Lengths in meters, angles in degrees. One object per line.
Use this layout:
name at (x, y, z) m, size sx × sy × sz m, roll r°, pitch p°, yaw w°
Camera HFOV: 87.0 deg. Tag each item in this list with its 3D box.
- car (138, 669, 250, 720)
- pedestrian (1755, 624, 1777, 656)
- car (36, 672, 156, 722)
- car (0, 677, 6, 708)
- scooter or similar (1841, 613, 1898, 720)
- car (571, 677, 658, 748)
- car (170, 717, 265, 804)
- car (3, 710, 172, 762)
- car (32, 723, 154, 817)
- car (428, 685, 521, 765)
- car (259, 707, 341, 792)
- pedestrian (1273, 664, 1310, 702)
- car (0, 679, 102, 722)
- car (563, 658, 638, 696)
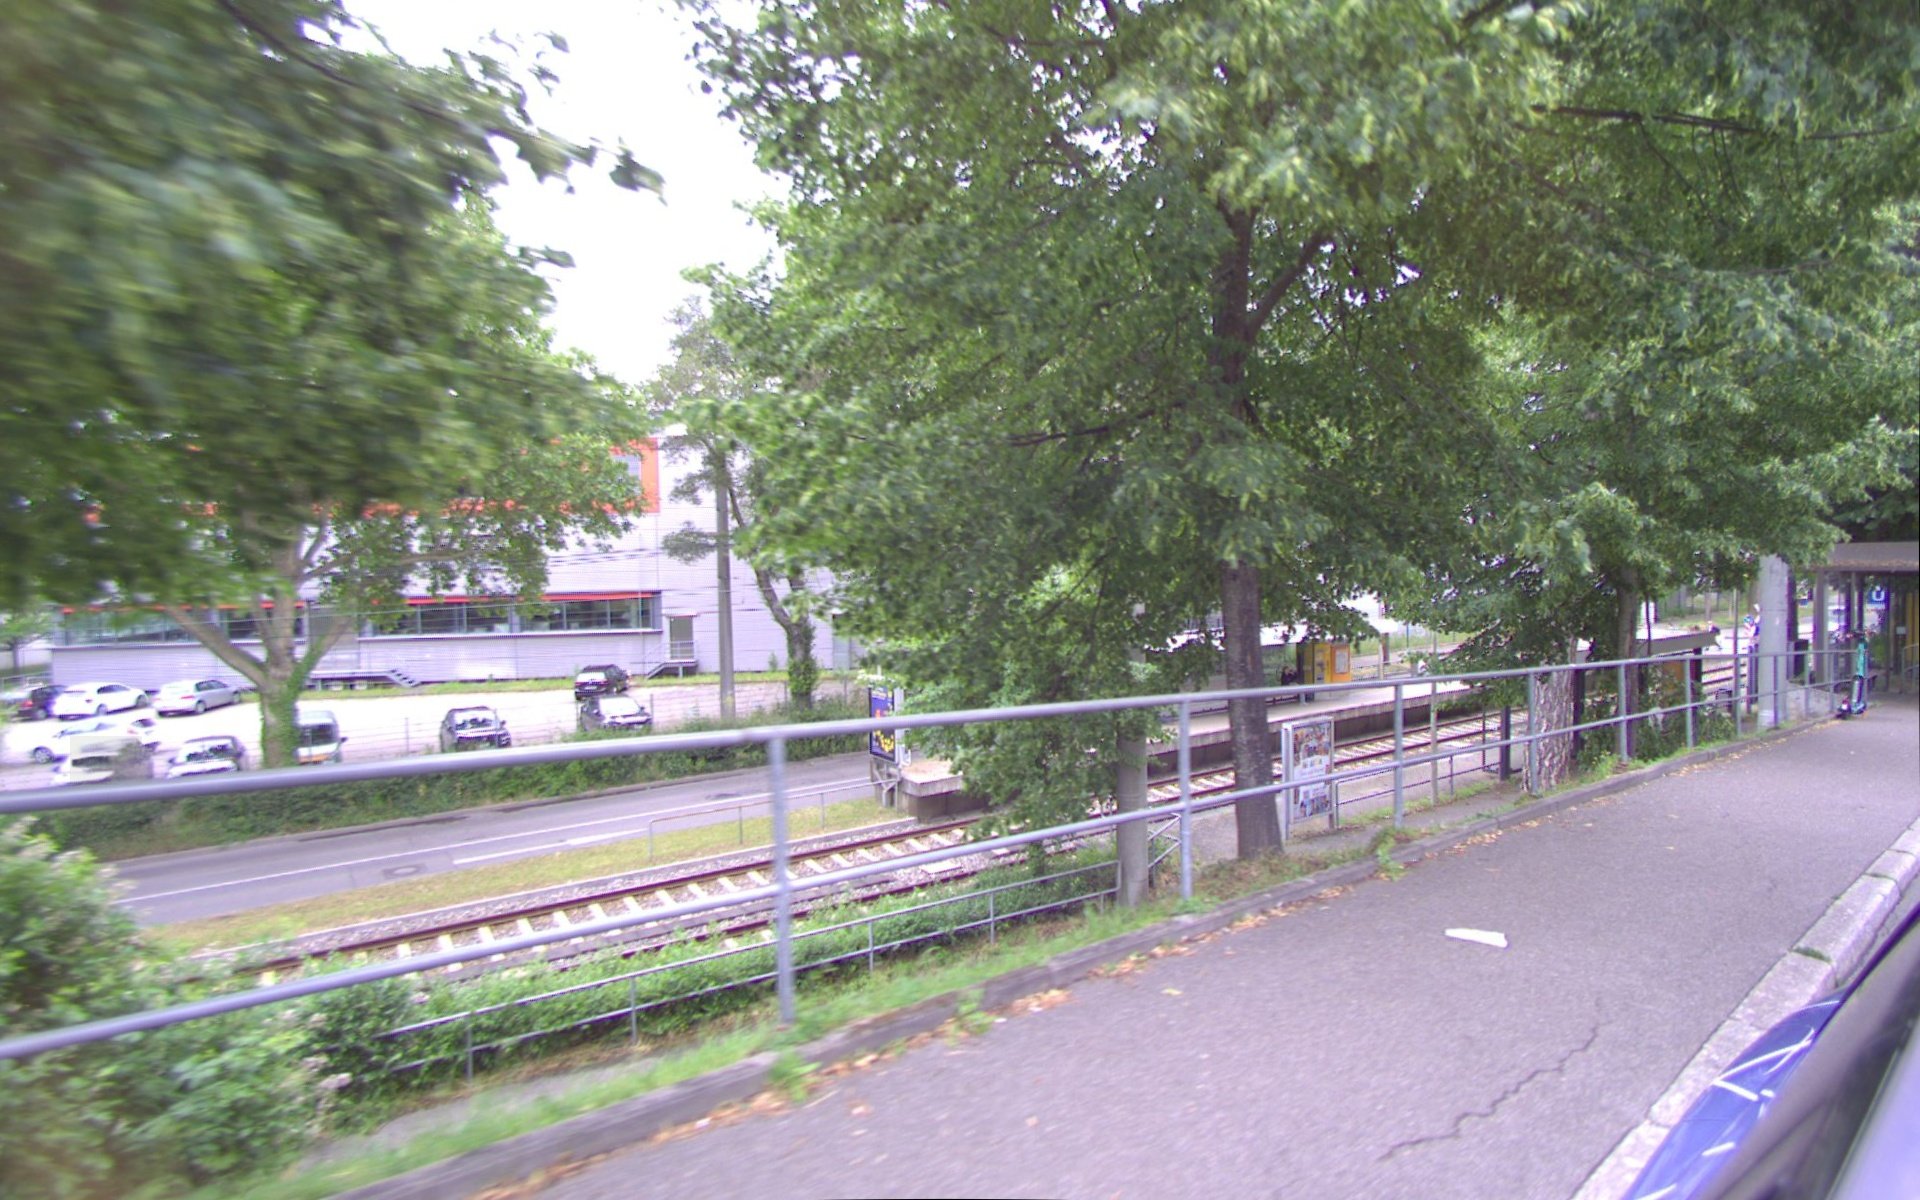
car at (-35.217, 4.304, 46.673) m, size 1.961 × 1.485 × 4.351 m, roll 0°, pitch 6°, yaw -3°
pedestrian at (43.859, 2.191, 55.065) m, size 0.670 × 1.697 × 0.755 m, roll 0°, pitch 0°, yaw -30°
car at (-39.526, 4.377, 46.452) m, size 1.960 × 1.485 × 4.352 m, roll 0°, pitch 5°, yaw -4°
car at (-46.893, 4.611, 46.631) m, size 1.960 × 1.485 × 4.352 m, roll 0°, pitch 4°, yaw -6°
scooter or similar at (12.710, 0.893, 14.128) m, size 1.430 × 1.402 × 0.430 m, roll 0°, pitch 0°, yaw -41°
car at (-12.541, 3.980, 36.564) m, size 1.962 × 2.039 × 4.000 m, roll 0°, pitch 1°, yaw -35°
car at (-22.447, 4.765, 30.754) m, size 1.961 × 1.814 × 4.585 m, roll 0°, pitch 1°, yaw -32°
car at (-31.429, 4.891, 36.572) m, size 4.254 × 1.487 × 2.003 m, roll 0°, pitch 0°, yaw -7°
car at (-24.845, 4.787, 29.168) m, size 1.961 × 1.814 × 4.585 m, roll 0°, pitch 1°, yaw -32°
car at (-16.055, 4.023, 33.365) m, size 1.964 × 2.039 × 3.997 m, roll 0°, pitch 1°, yaw -38°
car at (-20.137, 4.495, 31.032) m, size 1.961 × 1.814 × 4.585 m, roll 0°, pitch 1°, yaw -32°
pedestrian at (11.303, 2.816, 34.488) m, size 0.935 × 1.181 × 0.779 m, roll 0°, pitch 0°, yaw -34°
car at (-42.015, 4.561, 46.507) m, size 1.959 × 1.487 × 4.350 m, roll 0°, pitch 1°, yaw -9°
car at (-16.784, 3.579, 47.483) m, size 1.962 × 1.393 × 4.534 m, roll 0°, pitch 1°, yaw -1°
